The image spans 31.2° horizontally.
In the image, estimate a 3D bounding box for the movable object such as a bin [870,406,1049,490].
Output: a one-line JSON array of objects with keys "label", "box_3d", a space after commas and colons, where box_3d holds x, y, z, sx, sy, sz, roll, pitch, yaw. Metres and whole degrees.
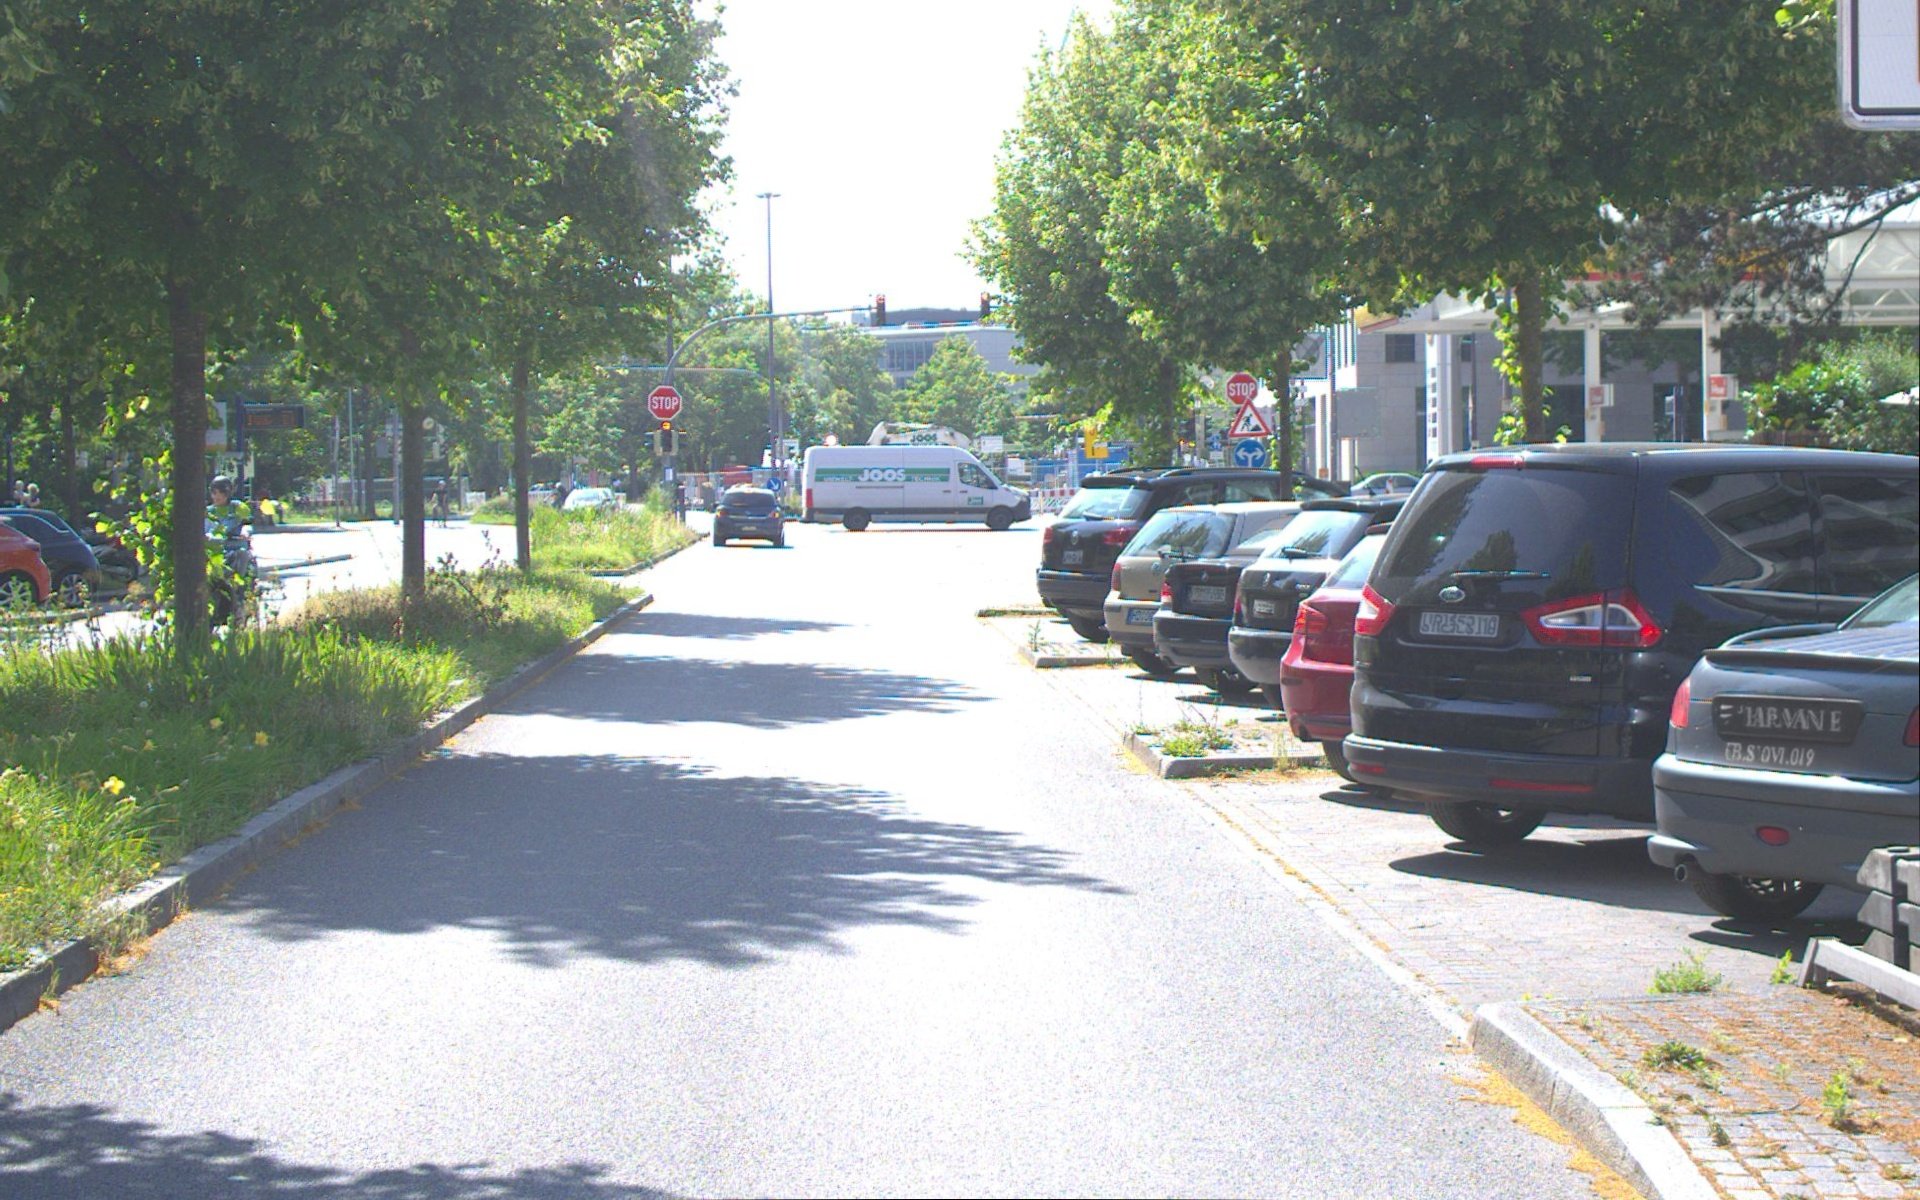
[{"label": "movable object such as a bin", "box_3d": [-0.039, -8.288, 188.225, 9.675, 4.534, 3.164, 0, 2, 0]}]

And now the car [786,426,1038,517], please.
[{"label": "car", "box_3d": [-1.491, -3.898, 103.964, 7.427, 2.665, 2.903, -1, 2, -5]}]

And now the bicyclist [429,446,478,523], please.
[{"label": "bicyclist", "box_3d": [-19.546, -4.448, 132.642, 1.599, 2.921, 2.354, 0, 1, -2]}]

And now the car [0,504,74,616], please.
[{"label": "car", "box_3d": [-13.513, -0.508, 44.014, 3.831, 1.418, 1.715, -1, 2, -38]}]

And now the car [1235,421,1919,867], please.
[{"label": "car", "box_3d": [3.409, 0.103, 14.617, 4.107, 1.634, 2.044, -1, 2, -35]}]

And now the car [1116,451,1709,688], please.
[{"label": "car", "box_3d": [3.321, -0.276, 25.265, 3.986, 1.634, 1.753, -1, 3, -24]}]

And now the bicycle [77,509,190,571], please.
[{"label": "bicycle", "box_3d": [-14.759, -1.082, 61.436, 1.845, 1.102, 0.693, 0, 1, -1]}]

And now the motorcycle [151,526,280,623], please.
[{"label": "motorcycle", "box_3d": [-7.920, -0.284, 36.674, 0.923, 0.989, 2.235, 0, 2, -1]}]

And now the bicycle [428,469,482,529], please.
[{"label": "bicycle", "box_3d": [-19.591, -3.912, 133.473, 1.599, 2.261, 4.001, 0, 1, -2]}]

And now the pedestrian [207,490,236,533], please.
[{"label": "pedestrian", "box_3d": [-27.465, -3.290, 127.822, 0.655, 1.606, 0.941, 1, 2, 21]}]

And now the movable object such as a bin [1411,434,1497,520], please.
[{"label": "movable object such as a bin", "box_3d": [9.513, -2.365, 66.280, 1.307, 1.586, 1.396, -3, 2, -4]}]

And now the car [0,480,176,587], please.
[{"label": "car", "box_3d": [-13.002, -0.928, 47.516, 3.764, 1.418, 1.855, -3, 3, -42]}]

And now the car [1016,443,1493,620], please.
[{"label": "car", "box_3d": [2.977, -0.708, 34.221, 4.731, 1.654, 1.753, -1, 2, -36]}]

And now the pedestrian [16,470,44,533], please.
[{"label": "pedestrian", "box_3d": [-25.724, -2.729, 95.080, 0.658, 1.720, 0.753, -1, 1, -20]}]

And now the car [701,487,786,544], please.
[{"label": "car", "box_3d": [-5.427, -2.122, 85.798, 1.993, 1.393, 4.001, 0, 2, -5]}]

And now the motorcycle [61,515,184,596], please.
[{"label": "motorcycle", "box_3d": [-13.423, -0.725, 55.149, 1.845, 1.280, 0.693, 0, 2, -8]}]

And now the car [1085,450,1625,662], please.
[{"label": "car", "box_3d": [3.177, -0.383, 27.886, 3.986, 1.634, 1.753, -1, 2, -14]}]

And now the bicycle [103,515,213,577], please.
[{"label": "bicycle", "box_3d": [-14.652, -0.989, 62.860, 1.845, 1.118, 0.693, 0, 1, -1]}]

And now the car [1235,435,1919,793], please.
[{"label": "car", "box_3d": [3.580, 0.031, 17.510, 3.987, 1.634, 1.880, -1, 1, -31]}]

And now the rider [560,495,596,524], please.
[{"label": "rider", "box_3d": [-15.615, -3.700, 140.629, 1.391, 1.191, 2.698, 0, 2, -4]}]

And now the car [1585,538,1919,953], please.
[{"label": "car", "box_3d": [4.319, 0.402, 11.962, 3.986, 1.232, 1.753, -1, 2, -28]}]

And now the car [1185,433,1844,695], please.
[{"label": "car", "box_3d": [3.698, -0.272, 23.006, 3.986, 1.634, 1.801, -1, 2, -21]}]

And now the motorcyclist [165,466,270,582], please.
[{"label": "motorcyclist", "box_3d": [-7.921, -0.814, 36.708, 0.900, 1.217, 1.062, 0, 1, -1]}]
